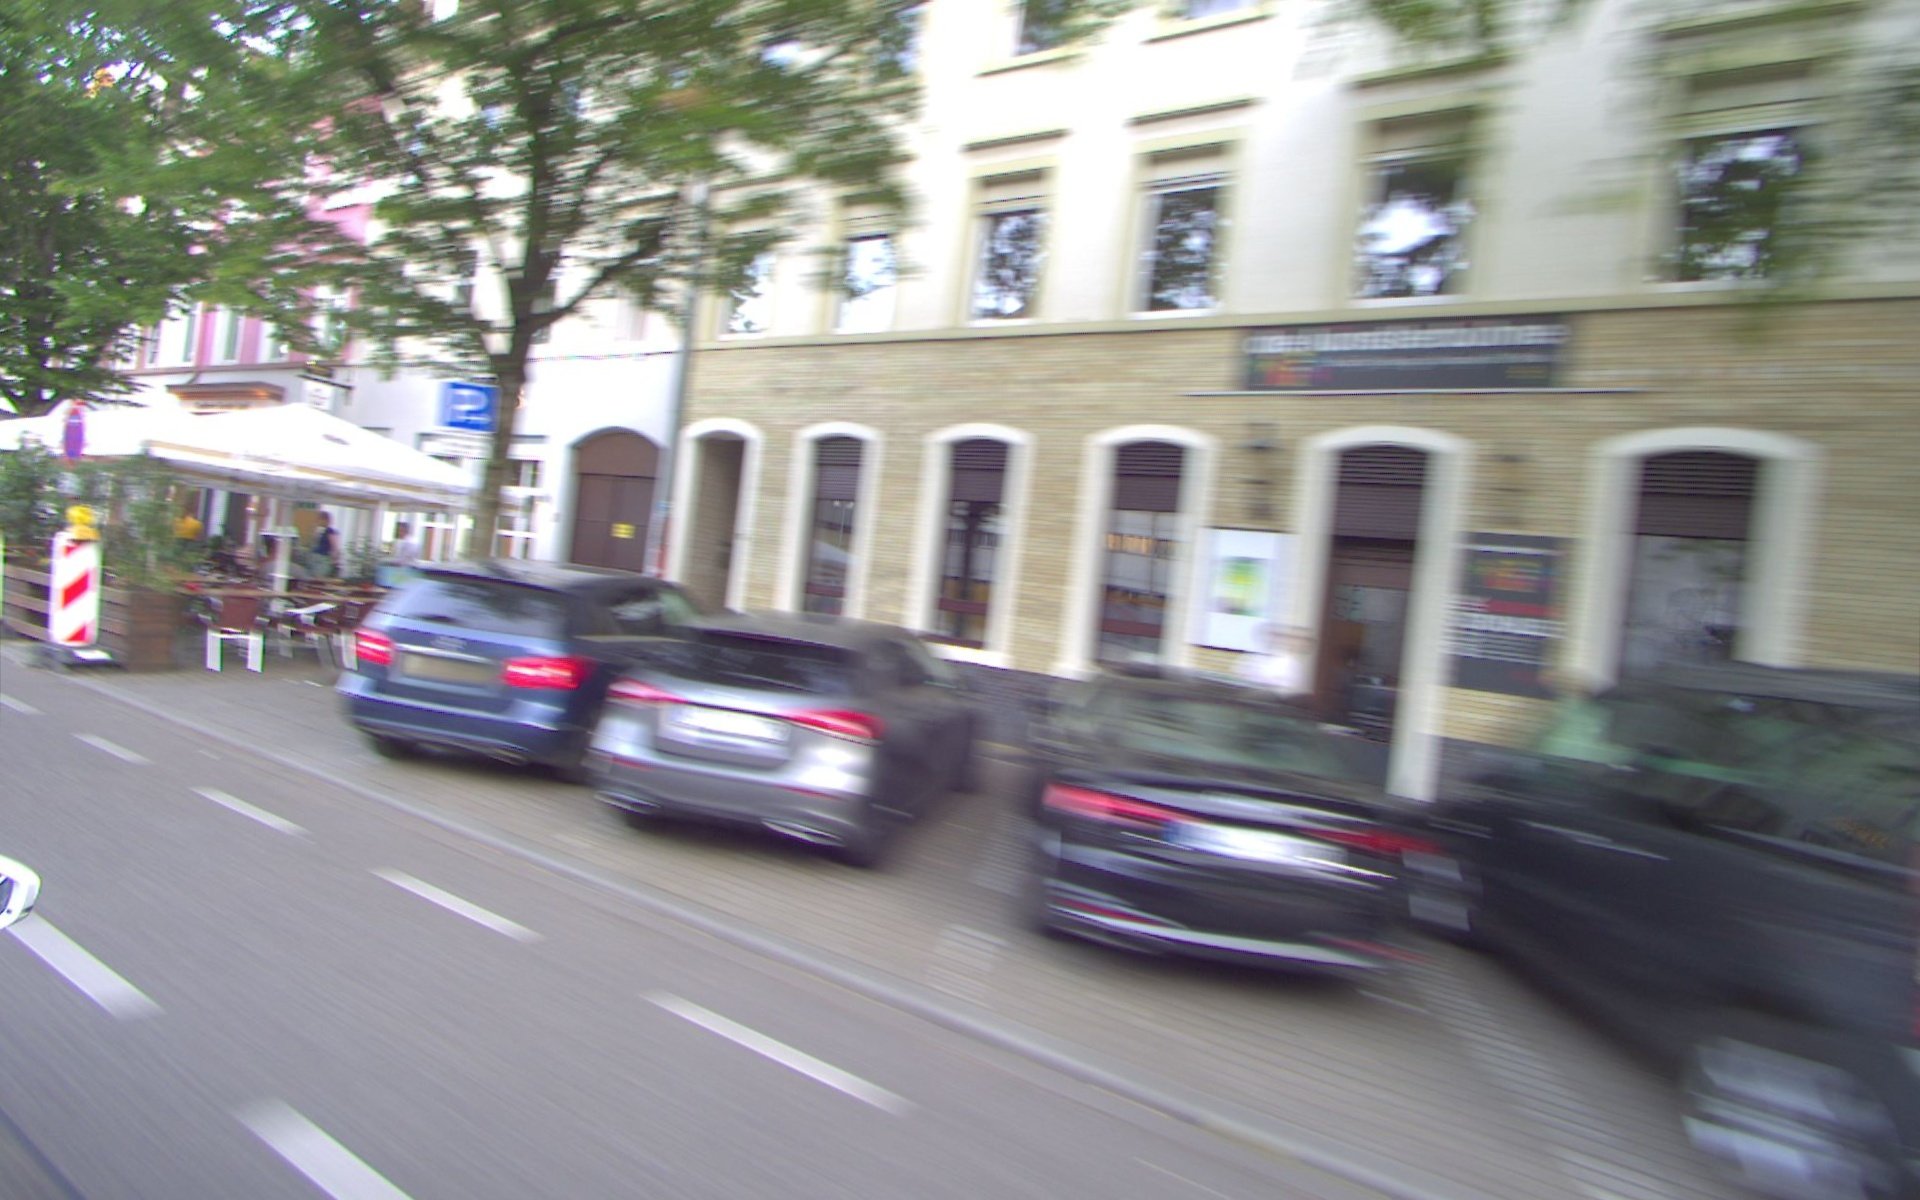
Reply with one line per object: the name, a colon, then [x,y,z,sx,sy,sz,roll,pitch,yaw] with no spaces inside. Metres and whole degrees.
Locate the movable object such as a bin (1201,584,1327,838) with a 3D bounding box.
movable object such as a bin: [2.627,0.933,8.669,0.684,2.037,0.614,7,0,31]

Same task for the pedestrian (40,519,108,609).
pedestrian: [-13.892,-0.556,15.777,0.589,1.307,0.503,7,-1,27]

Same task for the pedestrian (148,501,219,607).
pedestrian: [-13.909,-0.825,18.017,0.879,1.783,0.552,7,-1,32]

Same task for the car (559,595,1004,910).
car: [-0.900,0.820,7.139,1.673,1.425,3.785,7,0,12]

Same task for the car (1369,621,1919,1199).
car: [3.608,1.148,4.412,1.970,1.829,4.160,6,0,4]

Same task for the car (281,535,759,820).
car: [-3.151,0.488,8.214,1.673,1.572,3.975,7,0,7]

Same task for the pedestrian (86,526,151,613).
pedestrian: [-13.670,-0.495,16.344,0.589,1.307,0.503,7,0,26]

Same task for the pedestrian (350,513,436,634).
pedestrian: [-8.914,-0.399,15.832,0.701,1.783,0.705,7,-1,7]

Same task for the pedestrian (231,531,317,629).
pedestrian: [-10.051,-0.287,14.752,0.701,1.321,0.553,7,-1,5]

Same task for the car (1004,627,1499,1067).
car: [1.255,1.056,6.206,1.773,1.407,4.322,6,1,2]

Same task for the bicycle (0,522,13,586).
bicycle: [-16.570,-0.810,16.143,0.598,1.045,1.888,7,2,30]

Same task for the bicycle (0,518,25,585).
bicycle: [-15.948,-0.820,15.726,0.598,1.045,1.816,7,2,30]

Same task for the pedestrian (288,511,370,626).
pedestrian: [-10.538,-0.516,16.807,0.836,1.783,0.553,7,-1,18]

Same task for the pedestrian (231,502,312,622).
pedestrian: [-10.988,-0.598,16.072,0.701,1.783,0.553,7,-1,15]

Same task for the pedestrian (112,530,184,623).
pedestrian: [-12.339,-0.355,15.289,0.496,1.307,0.599,7,-1,33]

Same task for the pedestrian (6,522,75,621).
pedestrian: [-13.032,-0.397,14.256,0.591,1.307,0.502,7,-1,37]
